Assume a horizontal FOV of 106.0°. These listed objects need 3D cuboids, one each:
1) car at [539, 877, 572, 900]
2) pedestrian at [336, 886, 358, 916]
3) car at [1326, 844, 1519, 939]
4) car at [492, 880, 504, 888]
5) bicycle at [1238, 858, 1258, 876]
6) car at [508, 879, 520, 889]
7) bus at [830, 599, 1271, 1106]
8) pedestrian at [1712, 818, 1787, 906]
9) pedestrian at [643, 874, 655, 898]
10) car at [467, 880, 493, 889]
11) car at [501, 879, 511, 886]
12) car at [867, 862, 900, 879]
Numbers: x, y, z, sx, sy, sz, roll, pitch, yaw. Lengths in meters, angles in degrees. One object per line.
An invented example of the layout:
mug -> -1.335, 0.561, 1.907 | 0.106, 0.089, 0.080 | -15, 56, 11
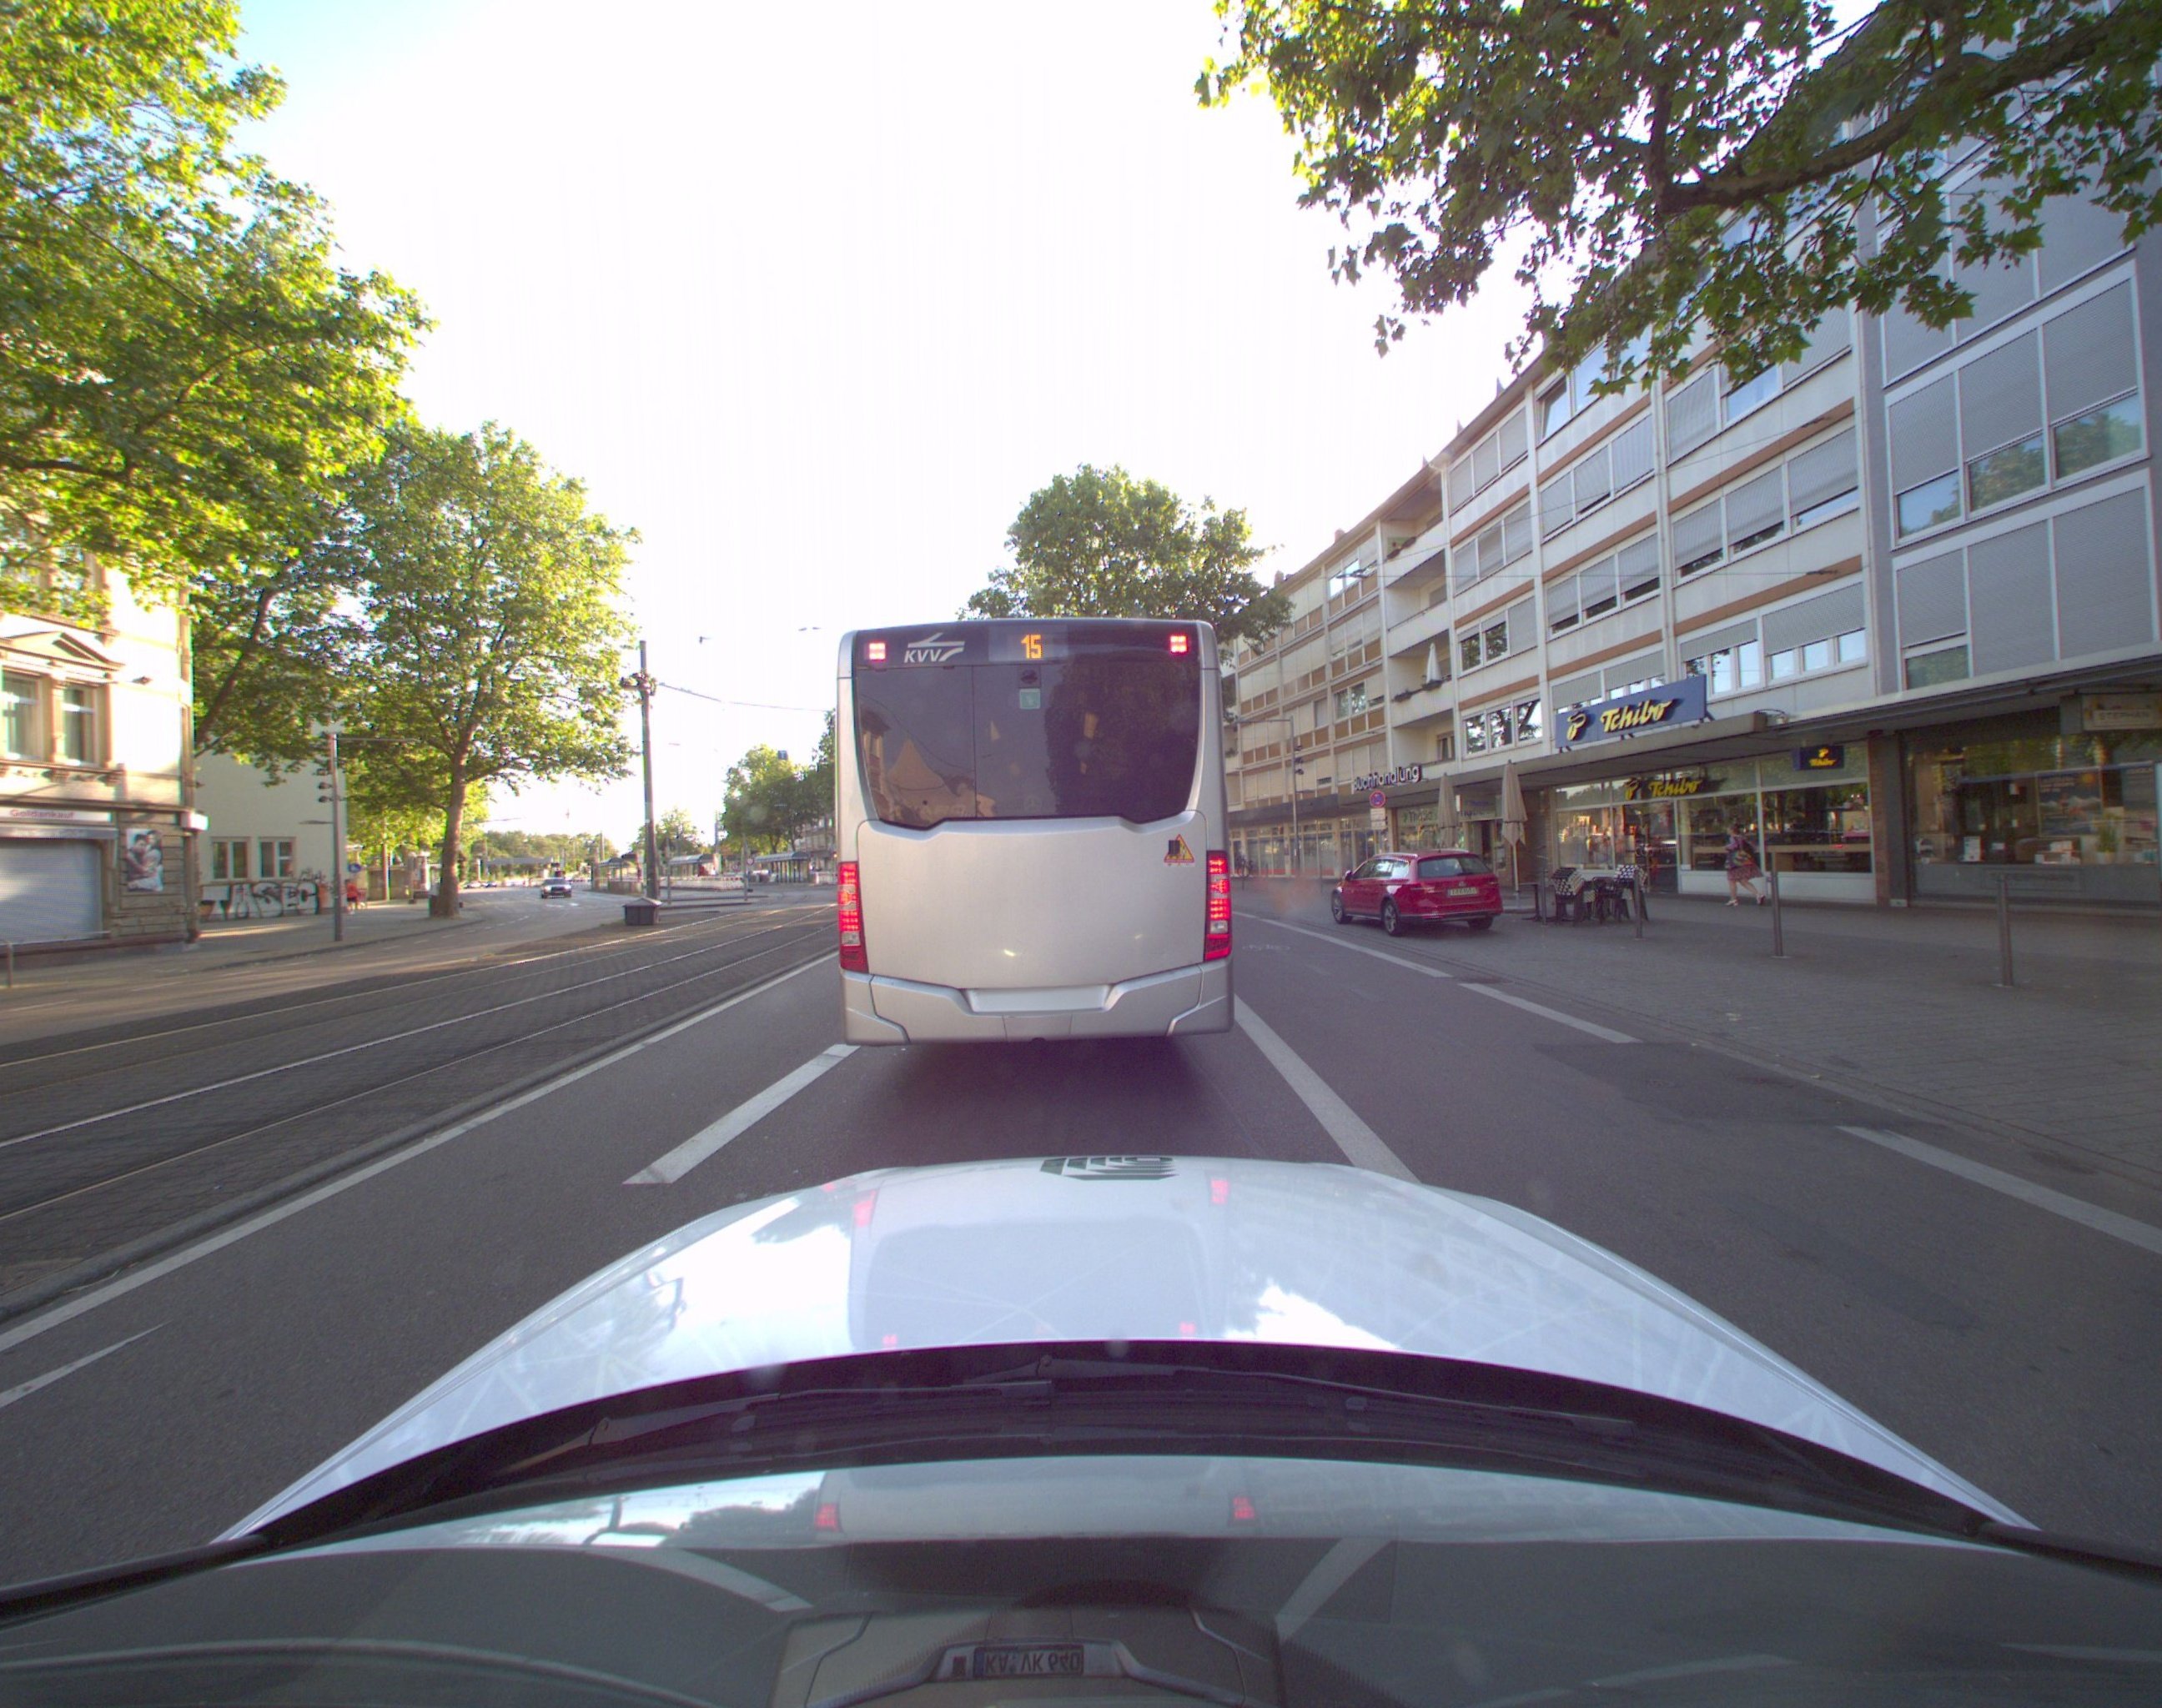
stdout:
car -> -40.053, 2.602, 62.069 | 2.008, 1.640, 3.958 | -2, -1, -33
pedestrian -> -38.351, 2.427, 42.546 | 0.488, 1.513, 0.612 | -3, 0, 14
car -> 6.388, 0.636, 15.828 | 1.765, 1.482, 4.300 | -3, 0, -2
car -> -117.819, 6.067, 164.678 | 1.858, 1.684, 3.676 | -2, -1, -35
bicycle -> 9.321, 0.716, 45.445 | 0.413, 0.945, 1.431 | -2, -1, -18
car -> -111.437, 5.880, 160.017 | 1.858, 1.684, 3.677 | -4, 1, -35
bus -> -0.170, 0.013, 9.928 | 2.622, 3.028, 9.995 | -1, 0, 0
pedestrian -> 12.764, 0.148, 15.572 | 0.649, 1.592, 0.788 | -4, -1, -4
pedestrian -> -30.517, 2.253, 57.541 | 0.661, 1.656, 0.438 | -2, -1, -41
car -> -122.657, 6.303, 166.142 | 1.768, 1.640, 4.024 | -3, -1, 44
car -> -130.081, 6.452, 184.197 | 1.858, 1.684, 3.676 | -2, -1, -35
car -> -21.524, 1.781, 88.628 | 2.010, 1.792, 3.954 | 0, -1, -39
